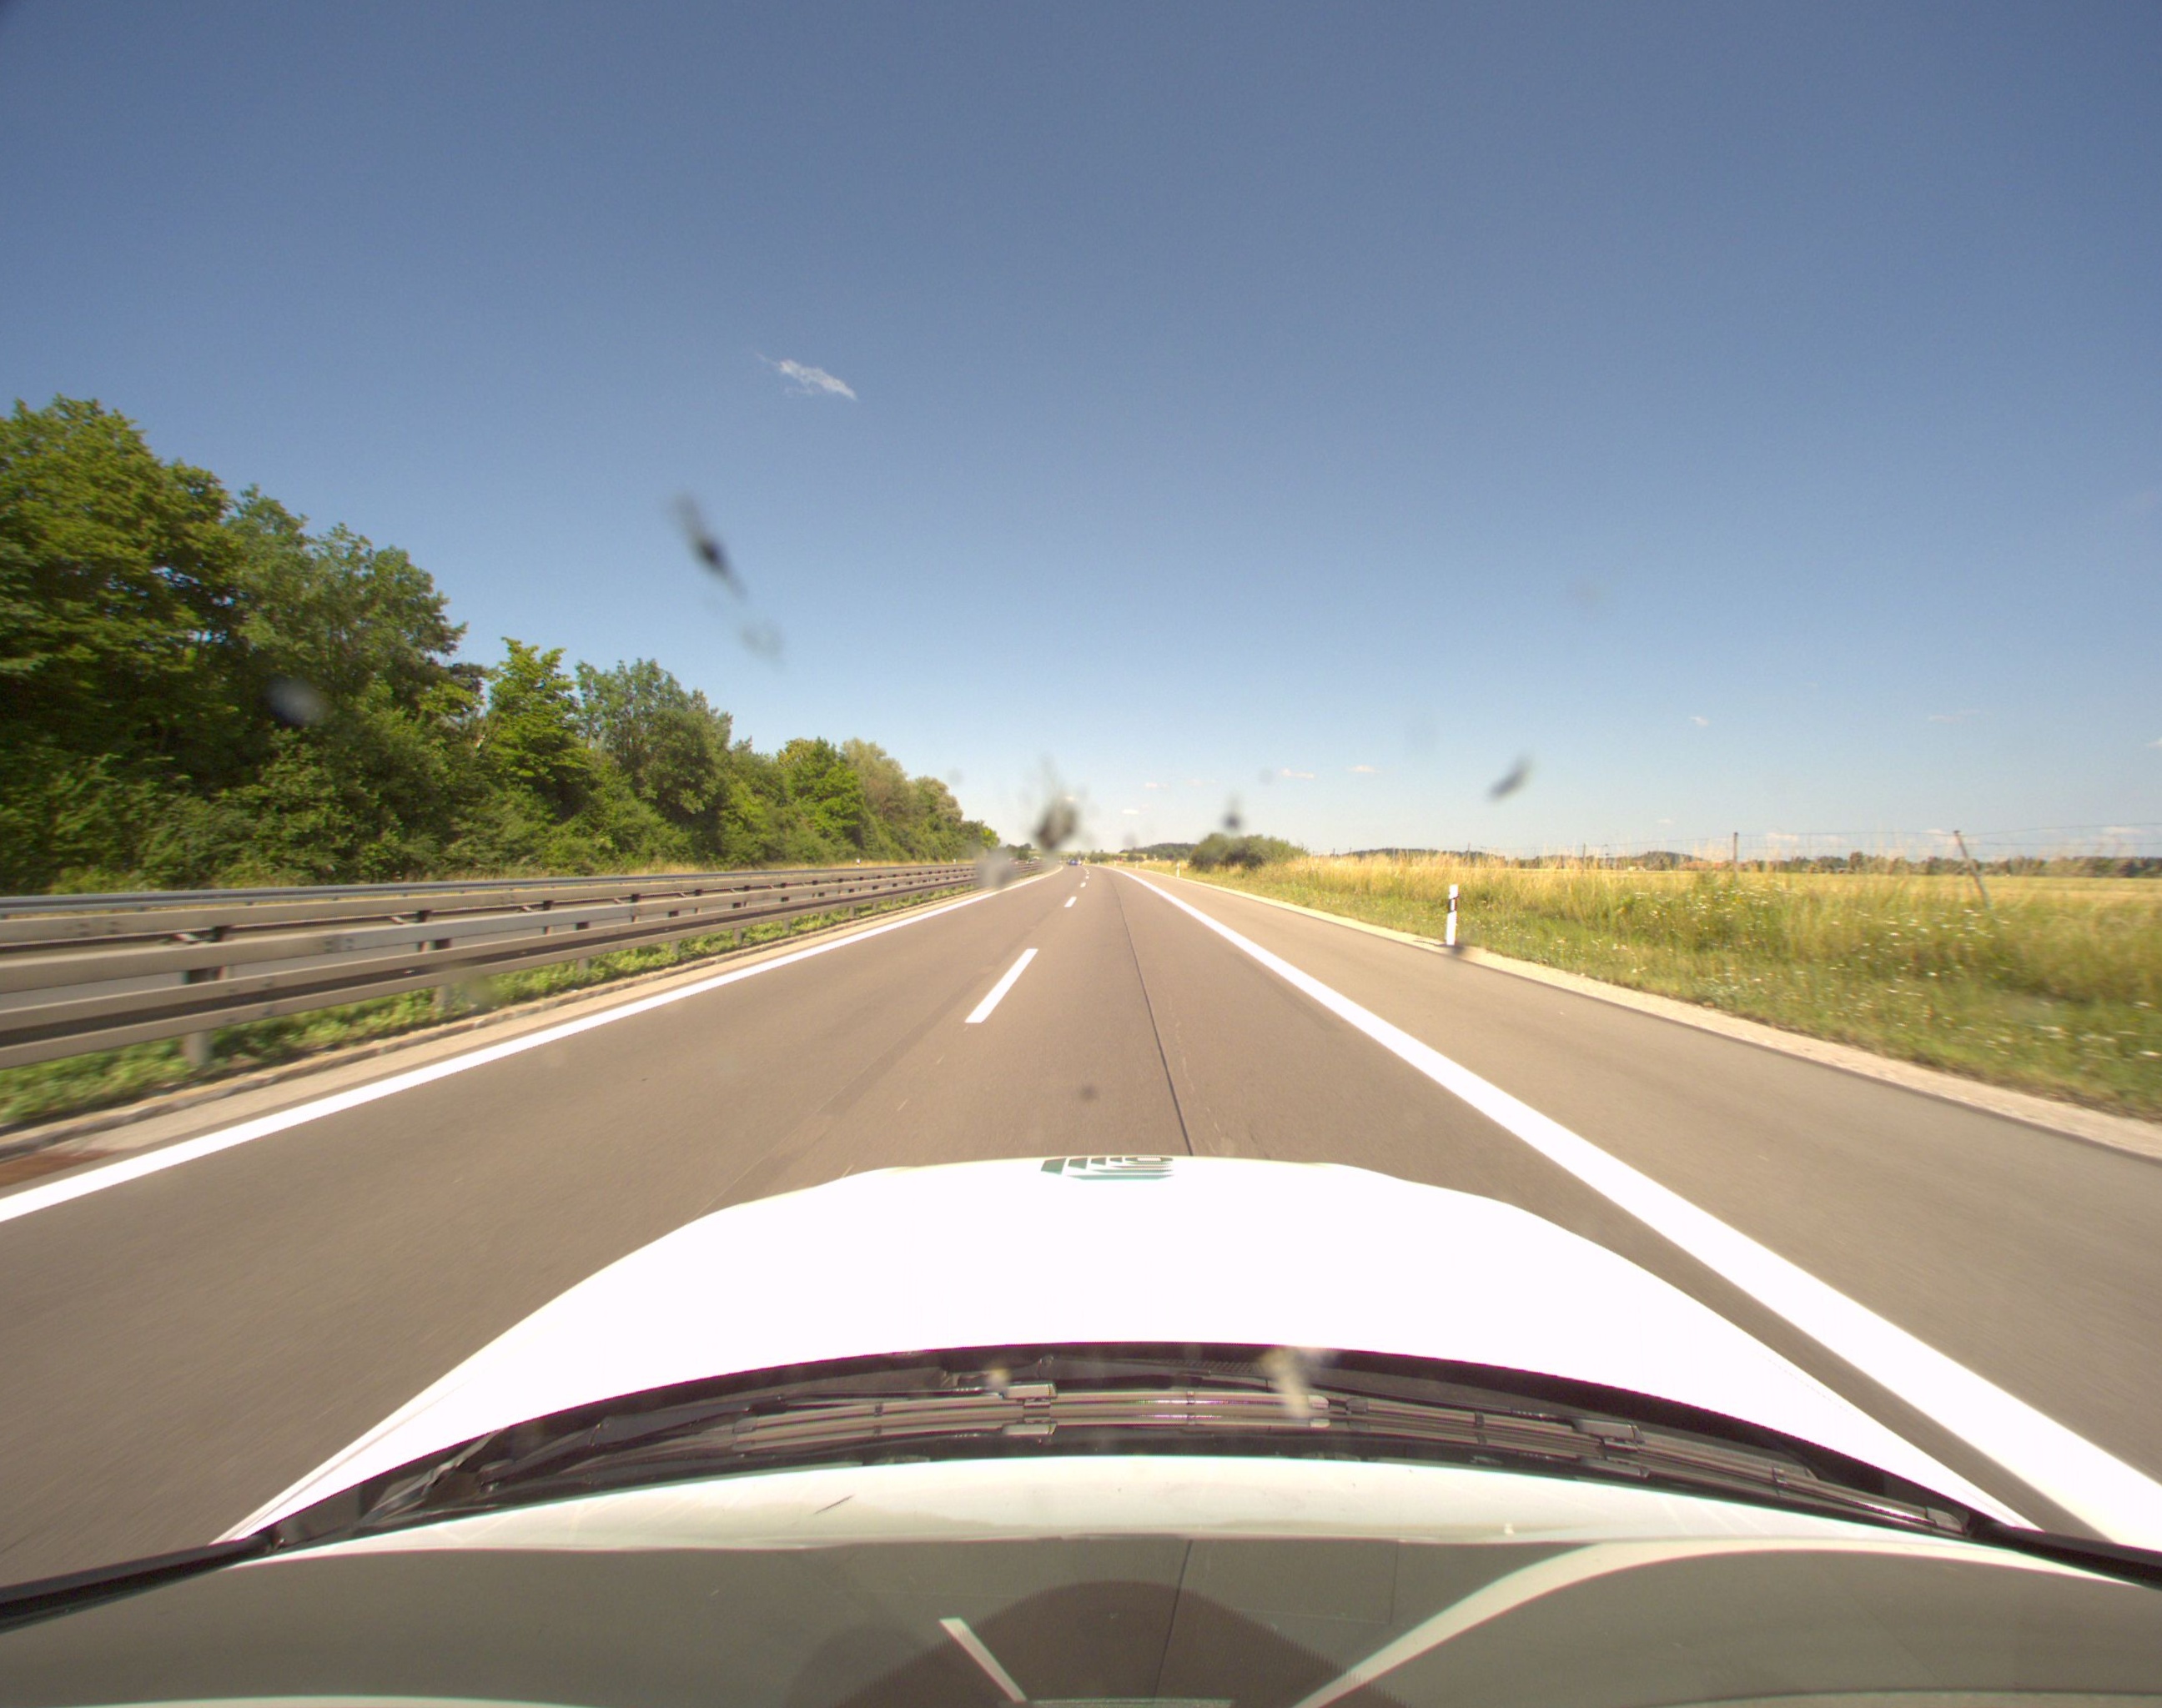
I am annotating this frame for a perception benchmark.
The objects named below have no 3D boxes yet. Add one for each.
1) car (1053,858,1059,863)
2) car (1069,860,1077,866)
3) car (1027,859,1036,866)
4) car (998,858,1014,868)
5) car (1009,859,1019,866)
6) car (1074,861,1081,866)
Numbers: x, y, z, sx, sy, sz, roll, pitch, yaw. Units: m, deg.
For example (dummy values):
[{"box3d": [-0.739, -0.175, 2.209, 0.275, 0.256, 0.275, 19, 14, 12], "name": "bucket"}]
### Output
[{"box3d": [-7.898, 2.150, 259.391, 1.822, 1.453, 3.593, 0, -1, 2], "name": "car"}, {"box3d": [-1.800, 2.049, 190.169, 1.670, 1.453, 3.592, 0, -1, 1], "name": "car"}, {"box3d": [-10.905, 1.786, 178.188, 1.644, 1.493, 4.538, 0, 0, 0], "name": "car"}, {"box3d": [-12.278, 1.511, 133.226, 1.986, 1.612, 4.637, 0, 0, 1], "name": "car"}, {"box3d": [-13.701, 1.688, 167.282, 1.644, 1.493, 4.538, 0, 0, 0], "name": "car"}, {"box3d": [-0.904, 2.556, 217.502, 1.673, 1.453, 3.585, 0, -1, -5], "name": "car"}]
